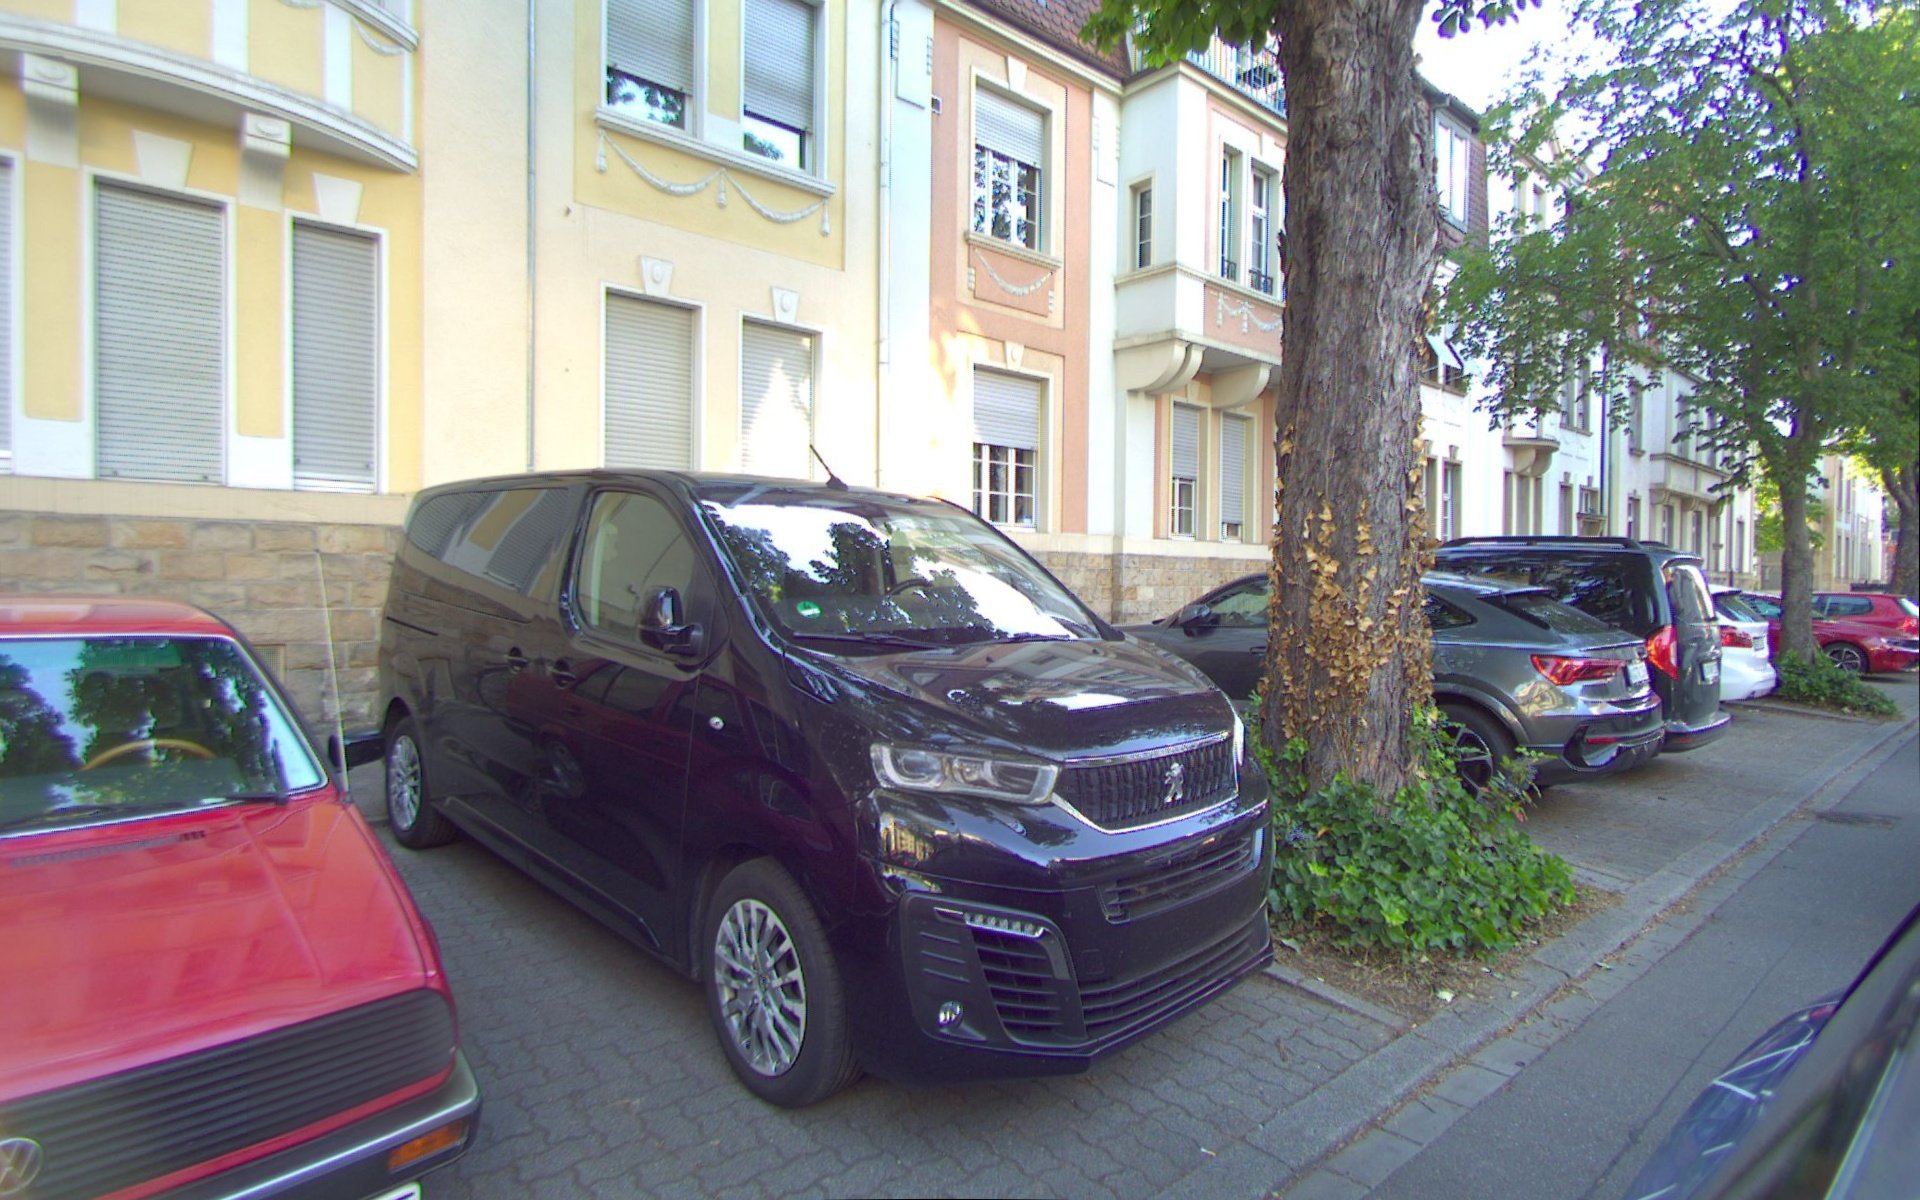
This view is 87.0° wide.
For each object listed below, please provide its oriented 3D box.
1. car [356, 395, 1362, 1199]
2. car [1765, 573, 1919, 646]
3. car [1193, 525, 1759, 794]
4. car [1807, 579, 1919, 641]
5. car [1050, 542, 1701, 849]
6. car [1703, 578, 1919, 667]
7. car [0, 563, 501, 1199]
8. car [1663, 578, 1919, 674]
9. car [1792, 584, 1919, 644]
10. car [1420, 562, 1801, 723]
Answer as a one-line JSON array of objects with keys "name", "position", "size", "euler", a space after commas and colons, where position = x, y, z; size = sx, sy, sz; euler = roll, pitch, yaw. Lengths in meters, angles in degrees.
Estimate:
[{"name": "car", "position": [-0.993, 0.348, 4.521], "size": [1.851, 1.846, 4.825], "euler": [-1, 4, -44]}, {"name": "car", "position": [21.623, 0.197, 24.078], "size": [1.511, 1.584, 3.621], "euler": [0, 2, -40]}, {"name": "car", "position": [4.324, 0.288, 9.006], "size": [1.569, 1.849, 4.165], "euler": [-1, 4, -44]}, {"name": "car", "position": [25.923, 0.270, 27.965], "size": [1.511, 1.584, 3.621], "euler": [0, 2, -40]}, {"name": "car", "position": [2.777, 0.419, 7.514], "size": [1.569, 1.611, 4.165], "euler": [-1, 4, -44]}, {"name": "car", "position": [16.863, 0.384, 19.658], "size": [1.511, 1.482, 3.621], "euler": [0, 3, -40]}, {"name": "car", "position": [-2.808, 0.612, 2.960], "size": [1.532, 1.336, 3.917], "euler": [-1, 4, -43]}, {"name": "car", "position": [14.943, 0.389, 18.077], "size": [1.511, 1.420, 3.621], "euler": [0, 3, -40]}, {"name": "car", "position": [23.979, 0.350, 26.148], "size": [1.511, 1.420, 3.621], "euler": [0, 3, -40]}, {"name": "car", "position": [7.751, 0.385, 12.287], "size": [1.513, 1.569, 3.616], "euler": [0, 3, -45]}]
